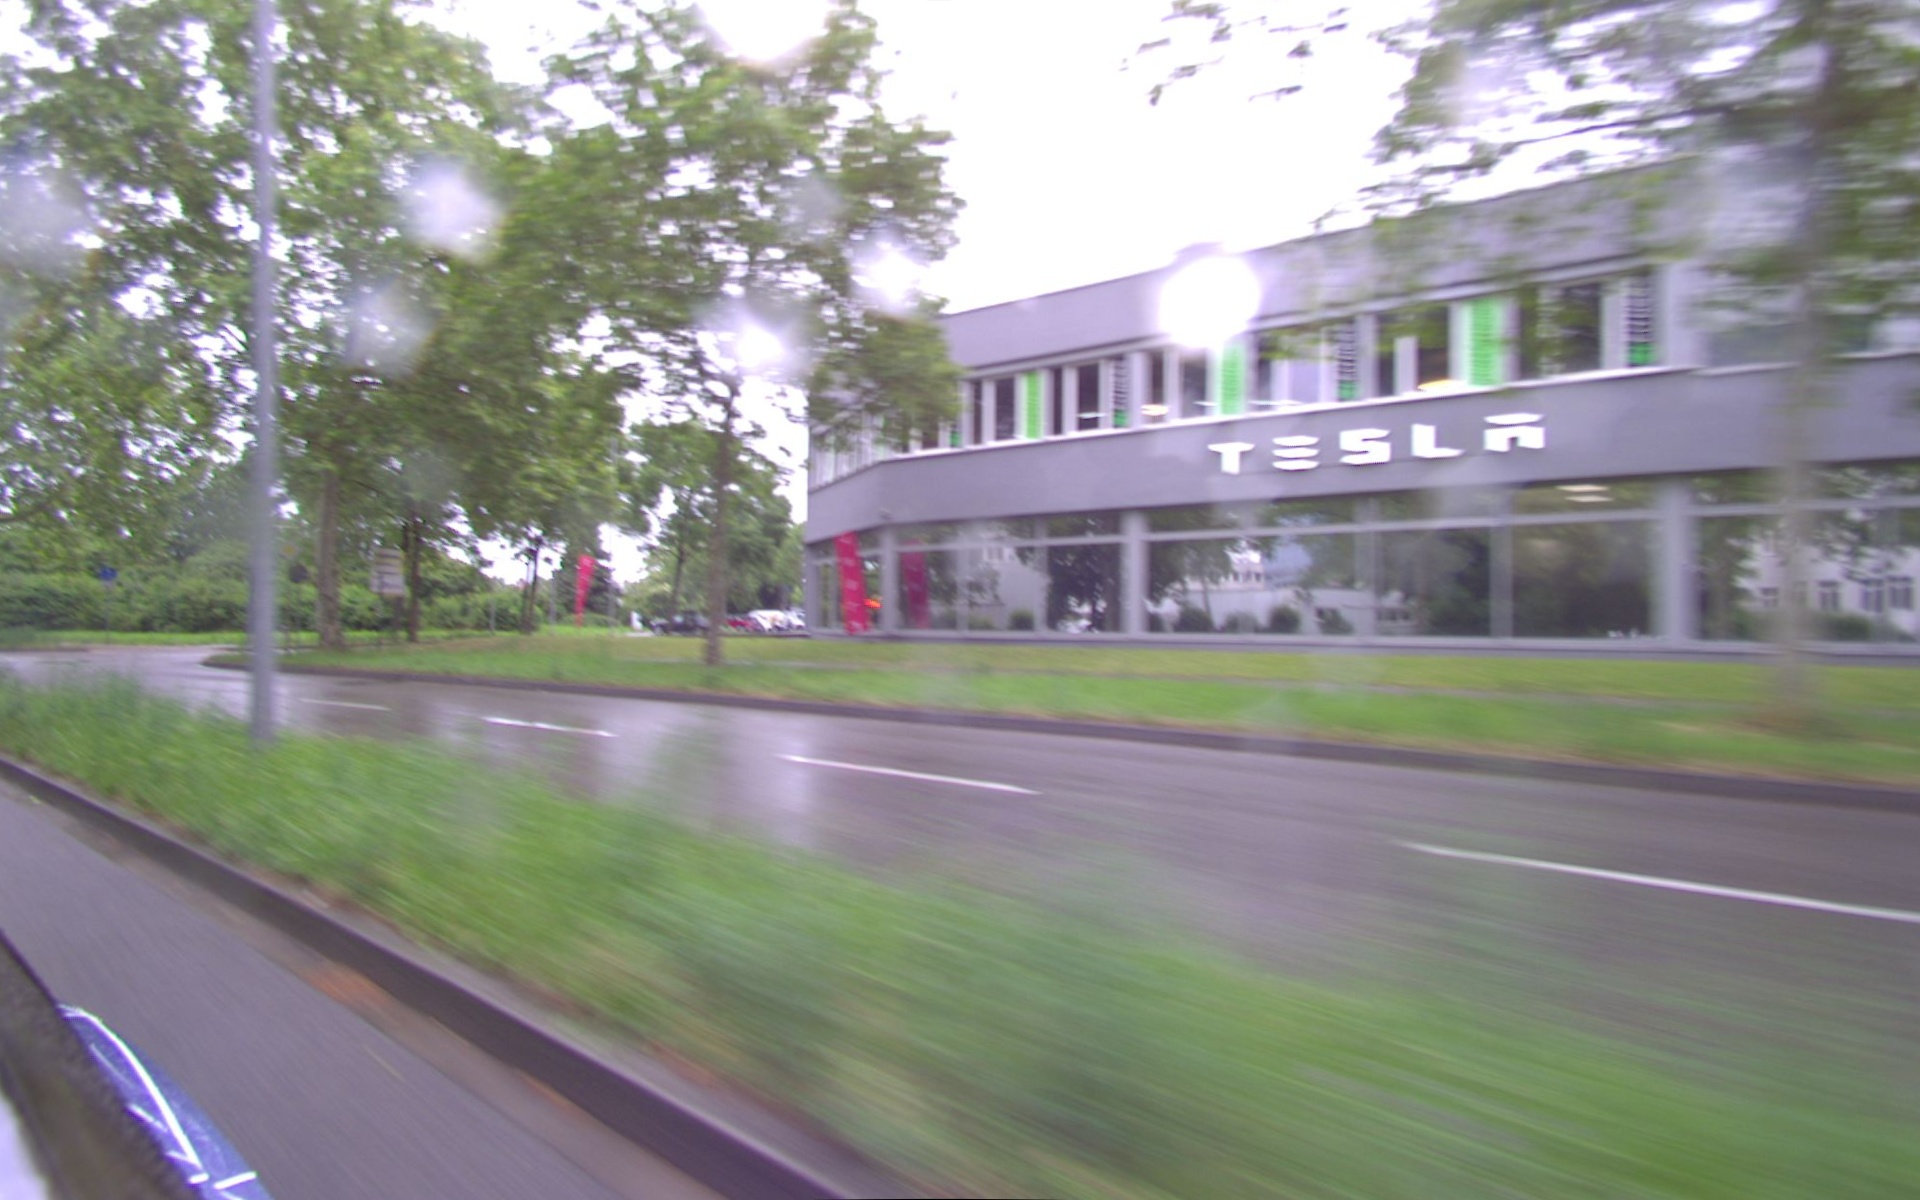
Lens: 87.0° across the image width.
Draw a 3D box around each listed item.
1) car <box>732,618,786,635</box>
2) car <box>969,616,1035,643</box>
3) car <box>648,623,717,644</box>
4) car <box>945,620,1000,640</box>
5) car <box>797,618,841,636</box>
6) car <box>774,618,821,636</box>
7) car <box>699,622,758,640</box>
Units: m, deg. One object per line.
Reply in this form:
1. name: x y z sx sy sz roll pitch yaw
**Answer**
1. car: -16.920 2.229 85.171 4.157 1.368 1.594 0 -1 9
2. car: 2.885 2.002 69.363 4.132 1.827 1.824 0 -1 -27
3. car: -18.631 2.245 67.978 4.244 1.368 1.594 0 -1 9
4. car: 0.968 2.282 78.125 4.154 1.506 1.595 0 -1 7
5. car: -14.202 2.750 102.153 4.157 1.758 1.594 0 -1 9
6. car: -15.534 2.595 97.016 4.157 1.640 1.594 0 -1 9
7. car: -17.691 2.374 77.432 4.157 1.368 1.594 0 -1 9
